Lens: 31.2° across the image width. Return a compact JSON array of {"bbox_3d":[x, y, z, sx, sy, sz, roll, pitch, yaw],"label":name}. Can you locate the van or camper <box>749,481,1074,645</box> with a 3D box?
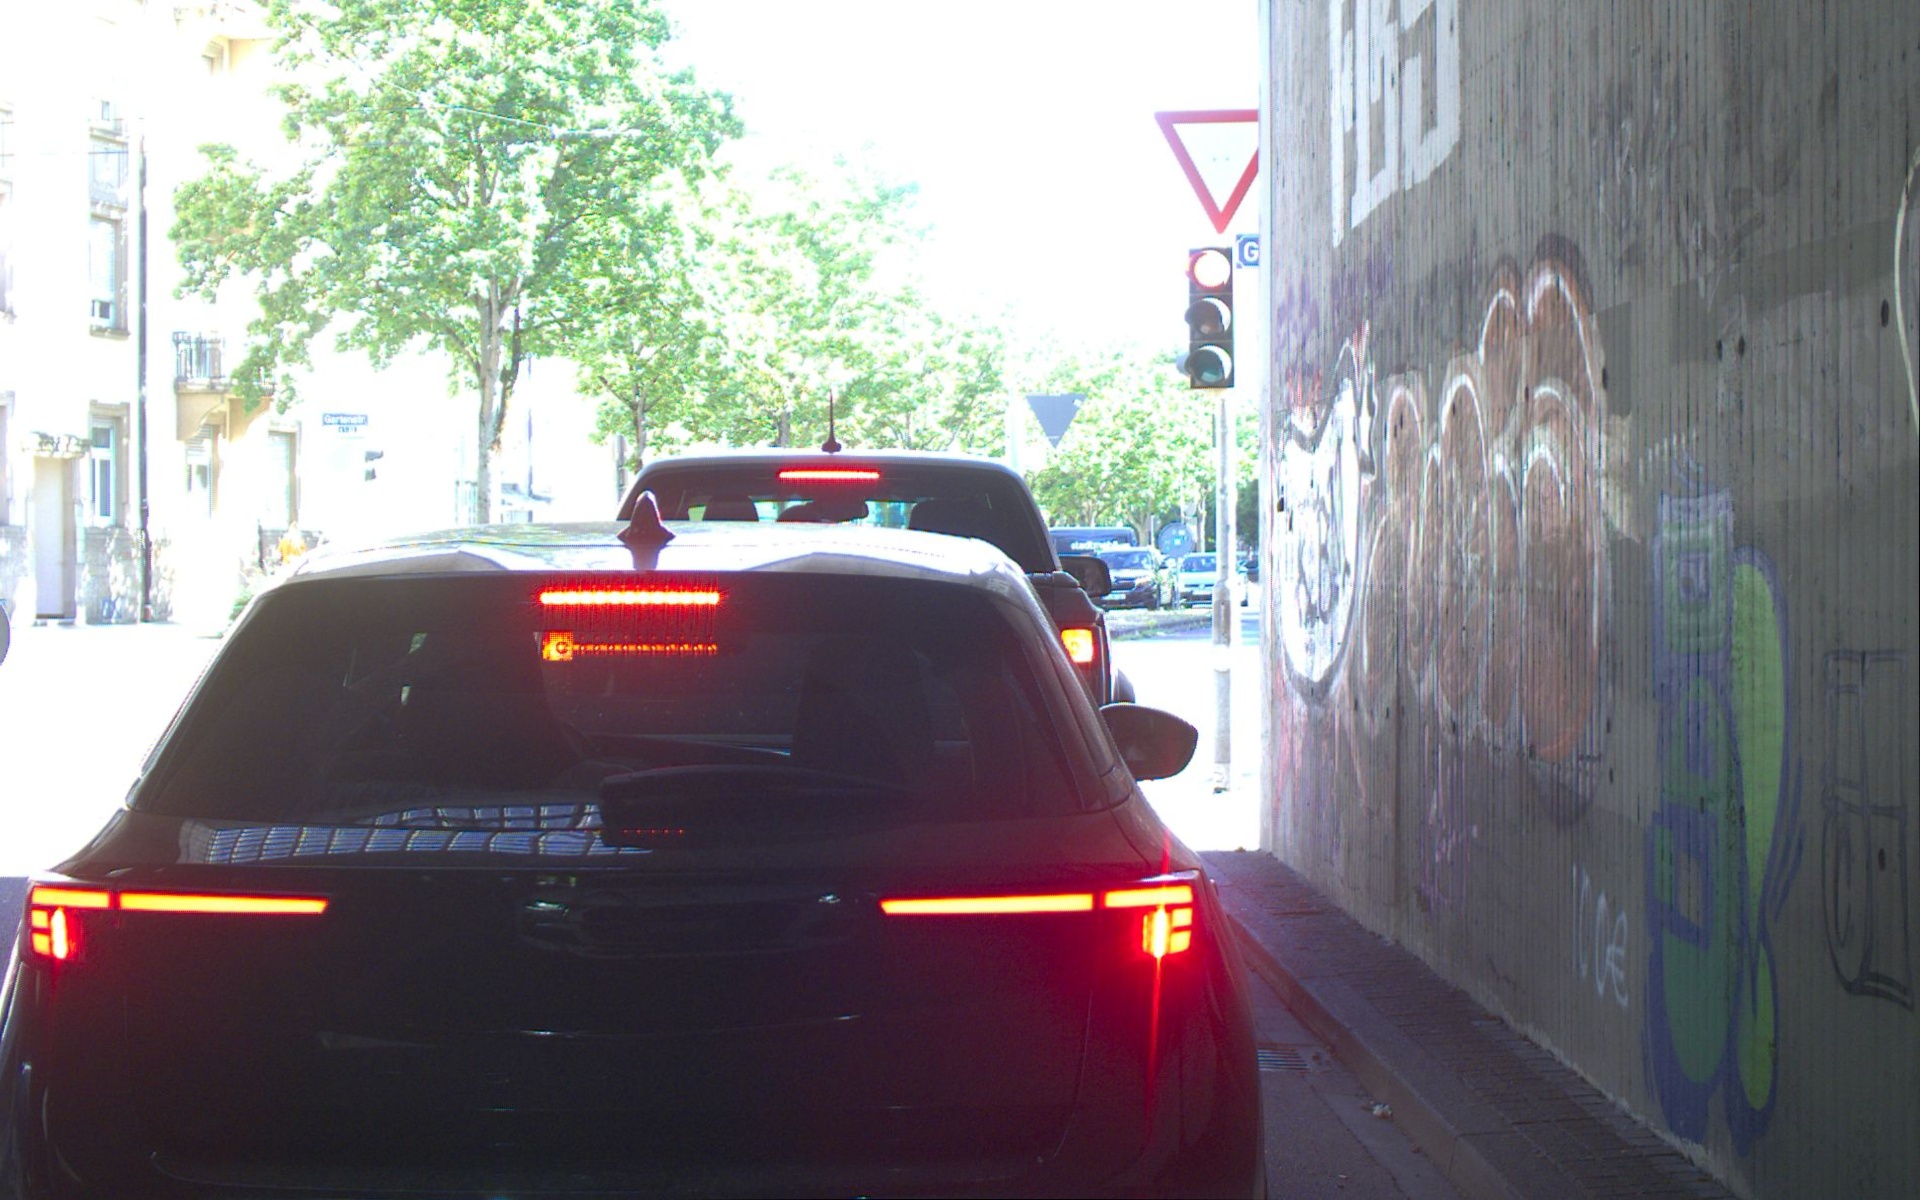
[{"bbox_3d":[-0.577,-0.471,43.547,3.878,2.007,2.000,0,1,7],"label":"van or camper"}]

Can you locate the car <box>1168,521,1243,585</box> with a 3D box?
[{"bbox_3d":[6.452,-1.235,90.163,1.584,1.634,3.804,0,1,10],"label":"car"}]

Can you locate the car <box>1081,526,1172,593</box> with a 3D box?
[{"bbox_3d":[3.677,-0.907,75.650,1.599,1.447,3.794,0,1,9],"label":"car"}]

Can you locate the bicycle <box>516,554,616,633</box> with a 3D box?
[{"bbox_3d":[-5.868,-0.107,51.331,0.737,1.126,2.025,0,1,17],"label":"bicycle"}]

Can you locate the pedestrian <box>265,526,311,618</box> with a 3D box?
[{"bbox_3d":[-12.650,-0.525,64.718,0.623,1.699,0.723,1,0,9],"label":"pedestrian"}]

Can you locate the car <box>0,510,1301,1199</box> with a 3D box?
[{"bbox_3d":[-0.489,0.610,6.122,1.753,1.493,4.000,1,1,0],"label":"car"}]

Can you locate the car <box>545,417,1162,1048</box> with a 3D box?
[{"bbox_3d":[-0.329,0.351,12.043,1.786,1.827,3.961,1,1,0],"label":"car"}]

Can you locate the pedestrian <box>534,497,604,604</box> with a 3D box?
[{"bbox_3d":[-5.842,-0.740,51.405,0.736,1.579,0.889,1,0,15],"label":"pedestrian"}]
